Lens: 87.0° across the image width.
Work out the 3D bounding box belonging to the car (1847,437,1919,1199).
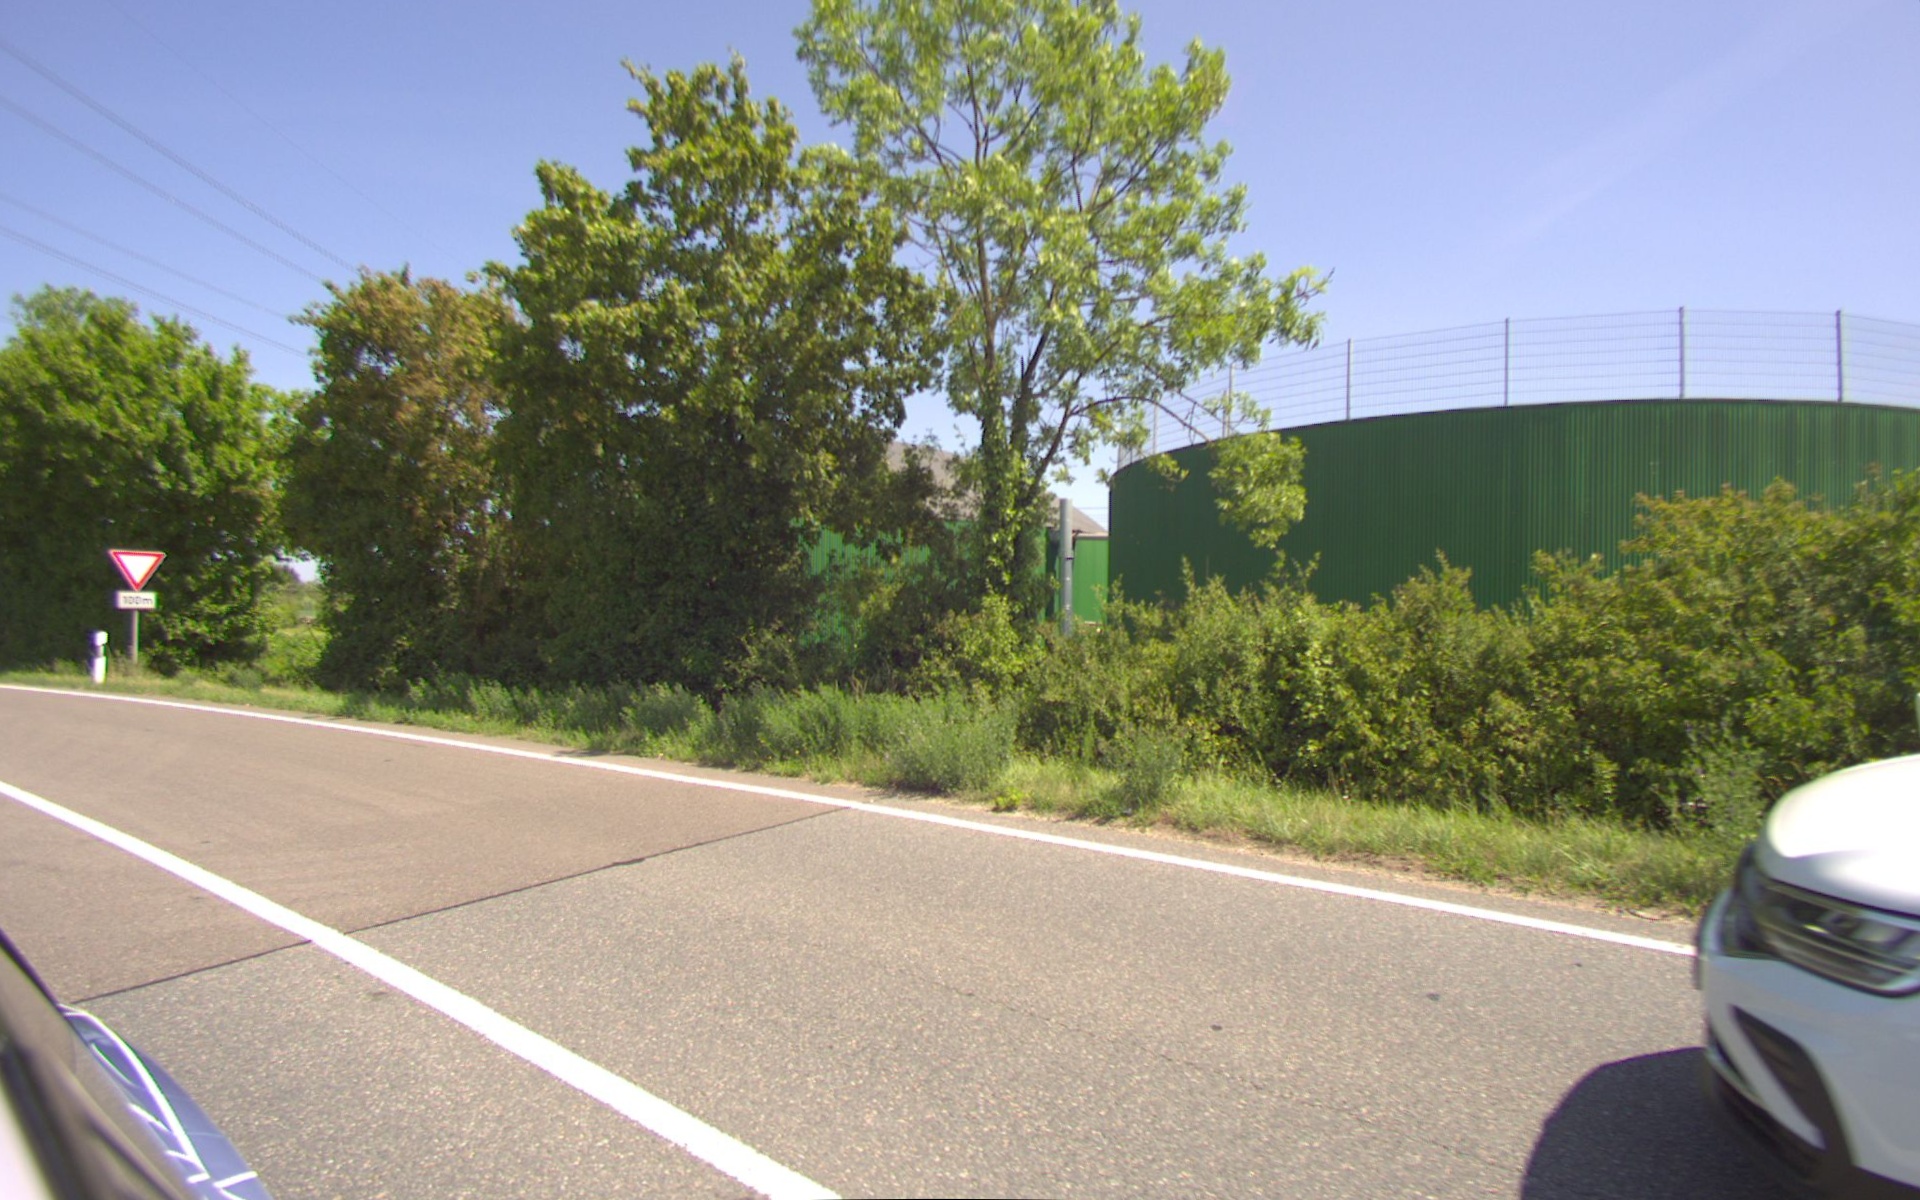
[{"bbox_3d":[3.885,0.494,0.781,4.776,1.613,1.835,-1,0,42],"label":"car"}]
